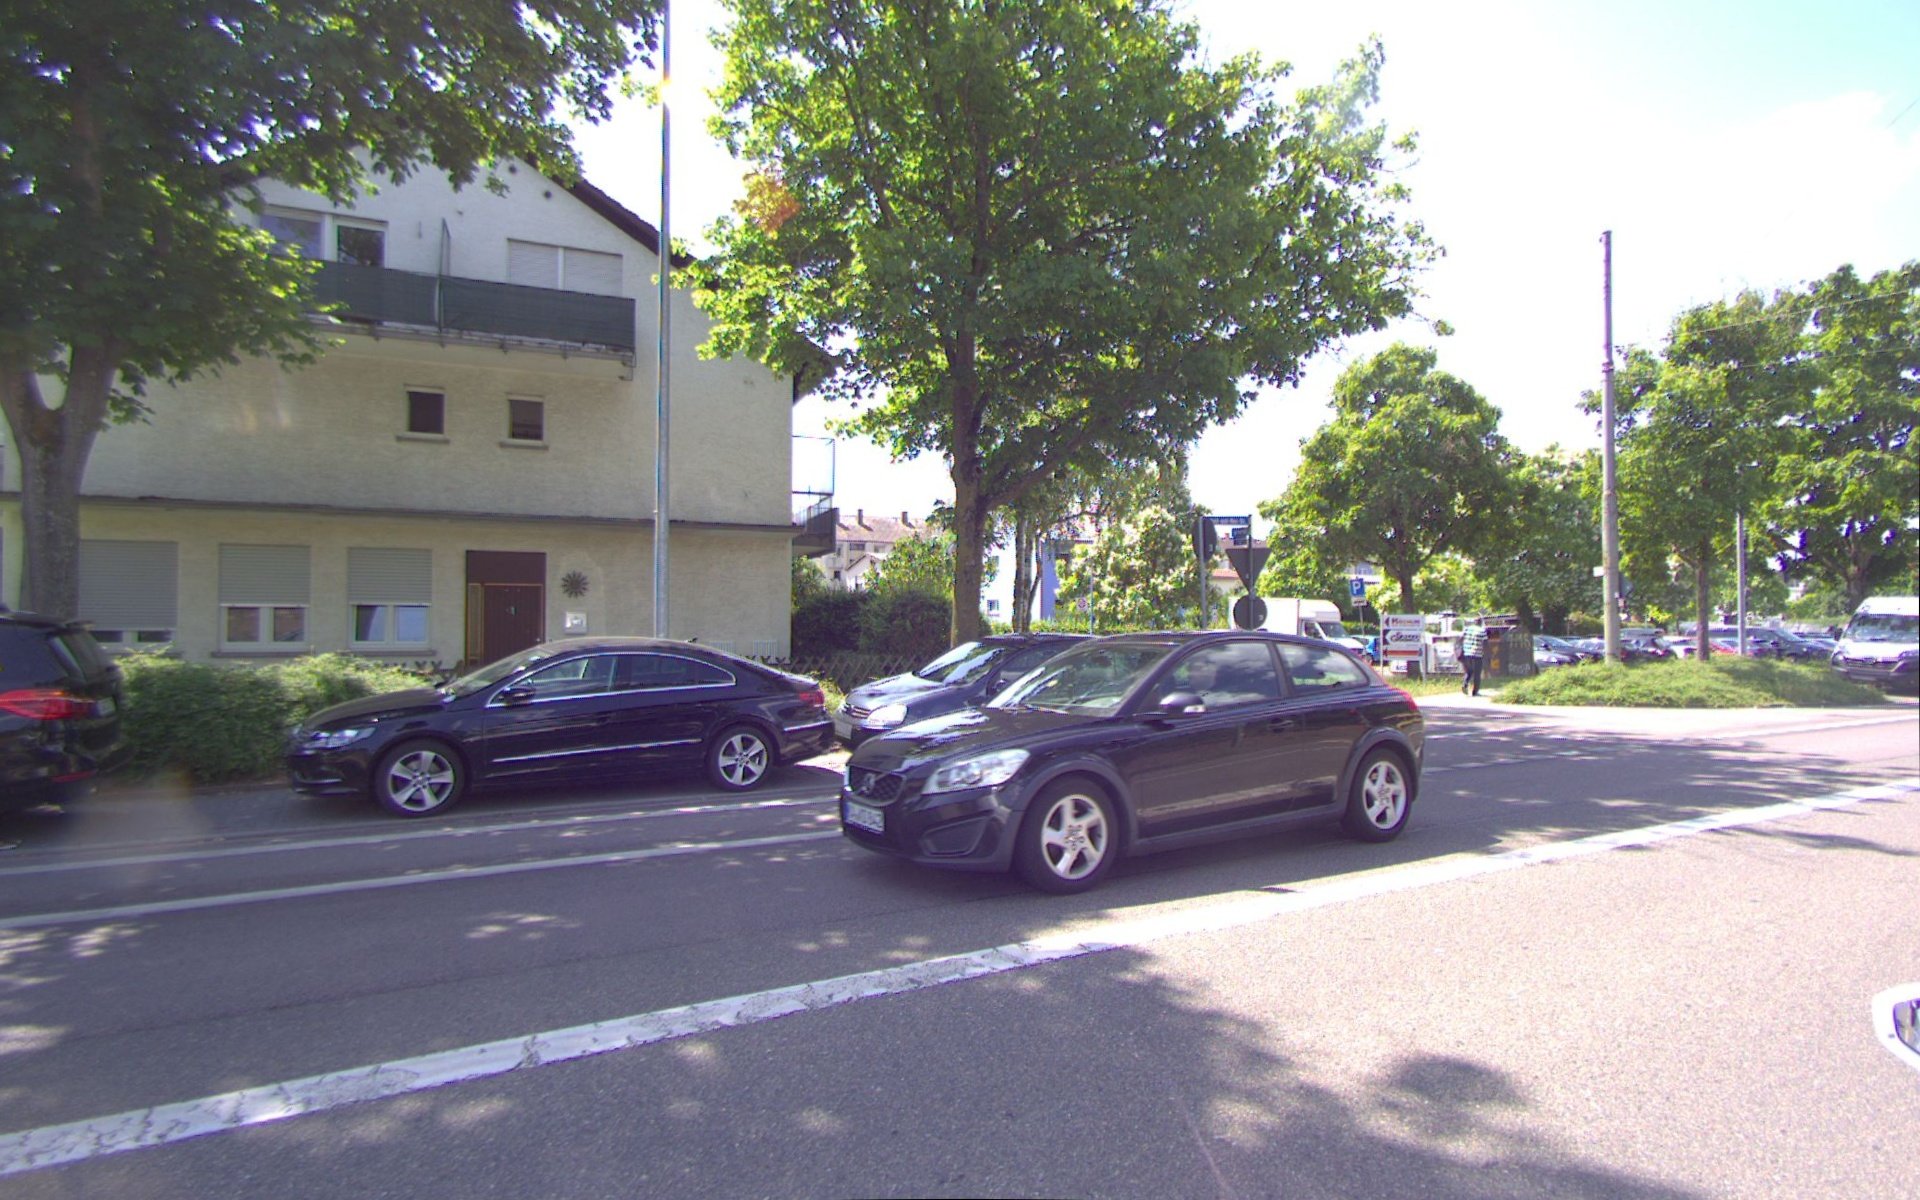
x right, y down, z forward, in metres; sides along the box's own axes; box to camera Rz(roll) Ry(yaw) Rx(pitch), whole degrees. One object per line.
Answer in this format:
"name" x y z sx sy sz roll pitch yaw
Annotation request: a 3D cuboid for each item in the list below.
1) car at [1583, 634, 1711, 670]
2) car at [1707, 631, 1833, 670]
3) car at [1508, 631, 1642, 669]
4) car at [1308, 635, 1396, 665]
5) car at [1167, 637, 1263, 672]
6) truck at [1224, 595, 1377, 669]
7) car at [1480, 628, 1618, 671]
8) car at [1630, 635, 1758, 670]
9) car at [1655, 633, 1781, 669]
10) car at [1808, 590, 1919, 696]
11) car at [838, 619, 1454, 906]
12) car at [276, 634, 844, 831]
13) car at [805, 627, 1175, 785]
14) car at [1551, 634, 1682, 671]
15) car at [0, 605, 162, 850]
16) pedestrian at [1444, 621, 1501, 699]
"car" 28.147 2.095 41.257 1.784 1.357 3.968 1 -2 -30
"car" 35.578 2.183 44.214 1.784 1.627 3.968 1 -2 -30
"car" 23.124 1.855 37.898 1.784 1.357 3.968 1 -2 -30
"car" 19.808 2.503 50.896 1.784 1.461 3.968 1 -2 -30
"car" 11.026 2.324 43.664 1.753 1.417 3.967 1 -2 -31
"truck" 16.054 1.505 47.922 2.306 3.270 7.149 1 -2 -31
"car" 21.241 1.754 36.364 1.784 1.461 3.968 1 -2 -30
"car" 30.619 2.169 42.025 1.784 1.357 3.968 1 -2 -30
"car" 32.652 2.171 43.379 1.784 1.461 3.968 1 -2 -30
"car" 25.604 1.095 26.984 6.115 2.520 2.148 1 2 -28
"car" 1.334 0.882 6.732 3.960 1.416 1.670 1 -4 -31
"car" -3.586 1.054 9.491 4.645 1.391 1.765 1 0 -32
"car" 0.396 1.100 11.703 4.000 1.500 1.766 1 0 -31
"car" 25.955 2.037 39.836 1.784 1.357 3.968 1 -2 -30
"car" -8.311 0.835 6.599 4.586 1.625 1.765 1 0 -32
"pedestrian" 12.454 1.433 24.403 0.786 1.847 0.969 1 -2 -33
